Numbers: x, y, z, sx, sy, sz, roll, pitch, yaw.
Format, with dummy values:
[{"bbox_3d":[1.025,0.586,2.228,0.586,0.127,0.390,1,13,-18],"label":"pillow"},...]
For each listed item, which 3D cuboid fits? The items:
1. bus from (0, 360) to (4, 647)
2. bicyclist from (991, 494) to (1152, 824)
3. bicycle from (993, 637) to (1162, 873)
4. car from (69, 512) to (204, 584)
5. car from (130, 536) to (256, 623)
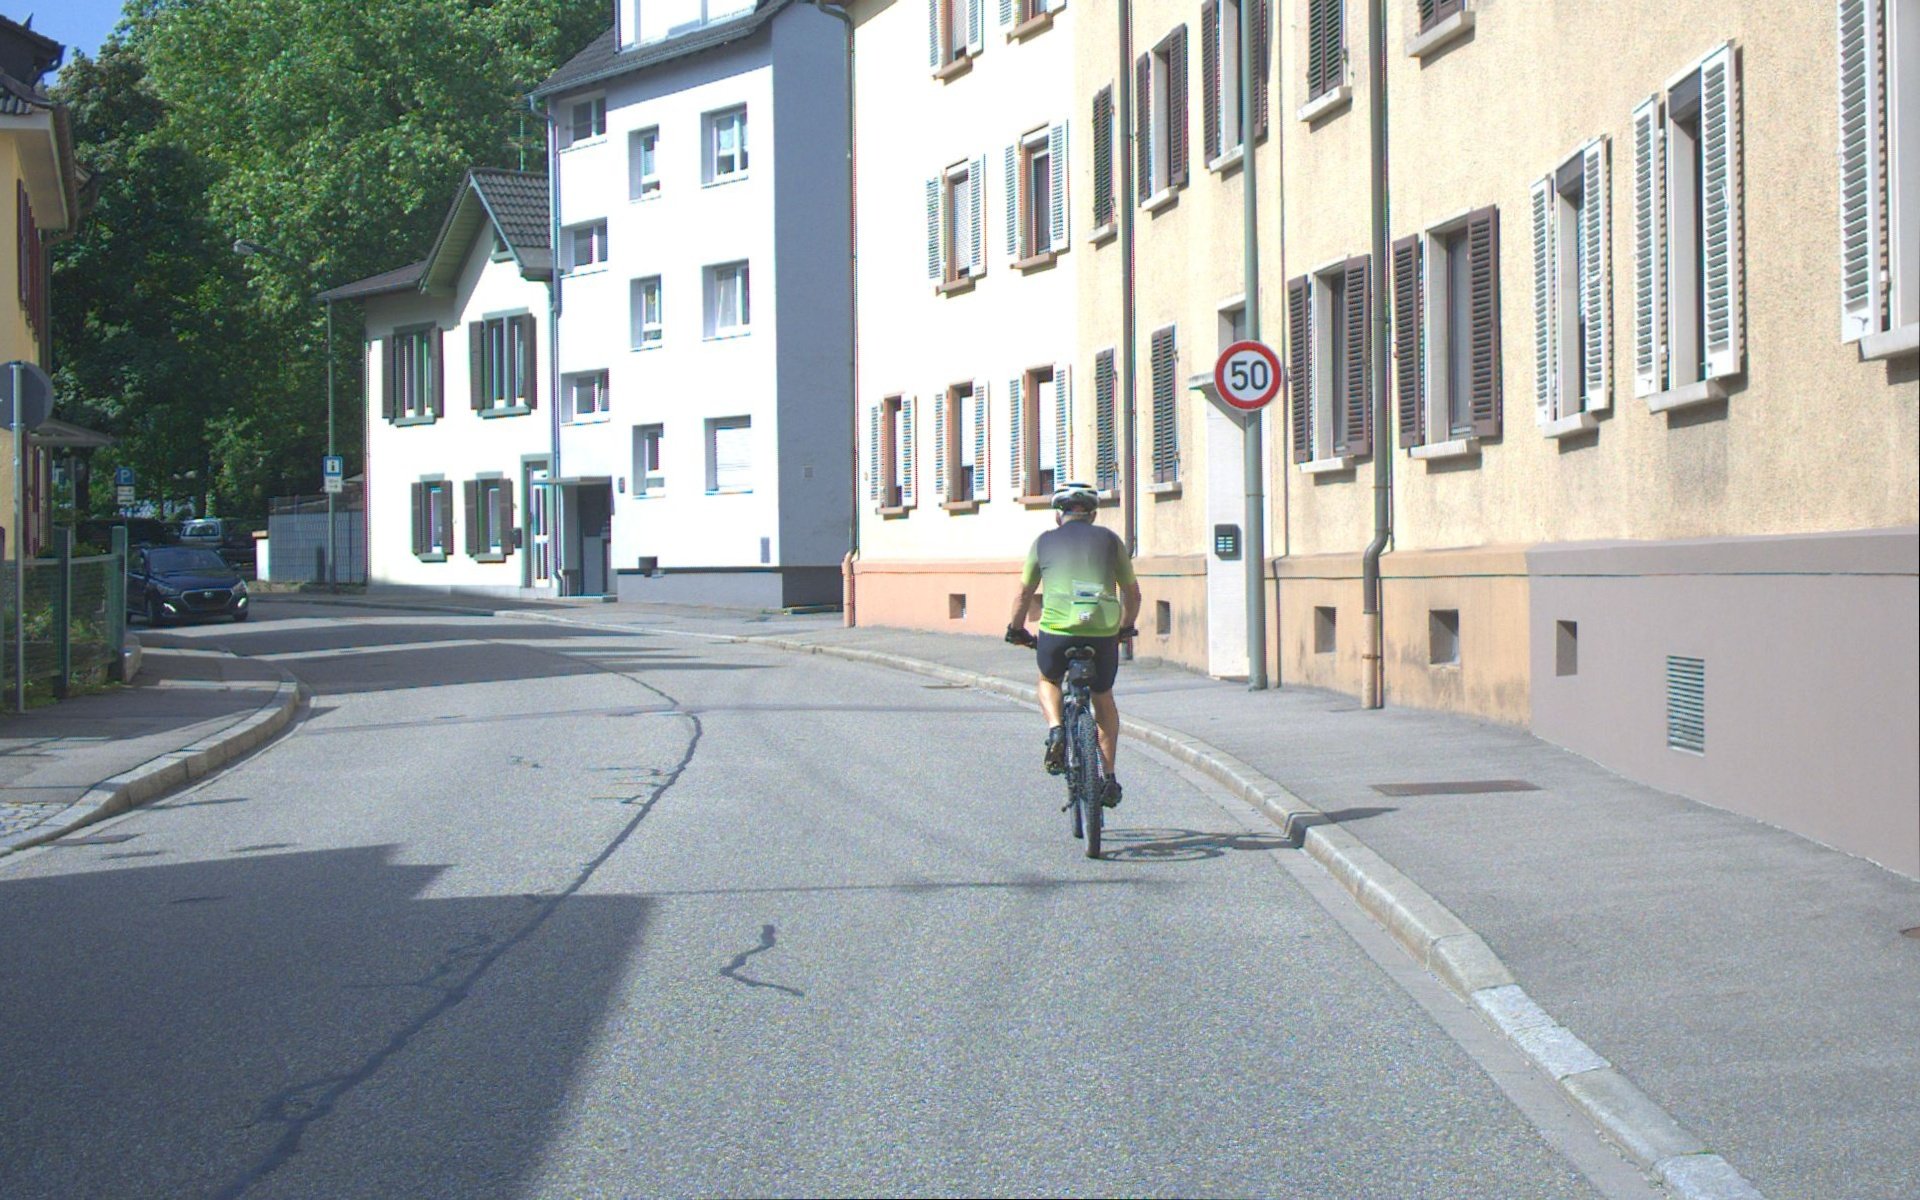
[{"bbox_3d":[-10.468,-0.665,28.969,2.820,3.217,9.037,1,1,-4],"label":"bus"},{"bbox_3d":[0.524,0.270,16.414,0.685,1.526,0.716,-1,1,-2],"label":"bicyclist"},{"bbox_3d":[0.544,0.715,16.468,0.698,1.032,1.471,0,1,-2],"label":"bicycle"},{"bbox_3d":[-21.993,-1.416,91.734,1.823,1.785,3.999,-3,3,-41],"label":"car"},{"bbox_3d":[-14.368,-0.408,64.262,1.747,1.448,4.028,-5,2,-19],"label":"car"}]
